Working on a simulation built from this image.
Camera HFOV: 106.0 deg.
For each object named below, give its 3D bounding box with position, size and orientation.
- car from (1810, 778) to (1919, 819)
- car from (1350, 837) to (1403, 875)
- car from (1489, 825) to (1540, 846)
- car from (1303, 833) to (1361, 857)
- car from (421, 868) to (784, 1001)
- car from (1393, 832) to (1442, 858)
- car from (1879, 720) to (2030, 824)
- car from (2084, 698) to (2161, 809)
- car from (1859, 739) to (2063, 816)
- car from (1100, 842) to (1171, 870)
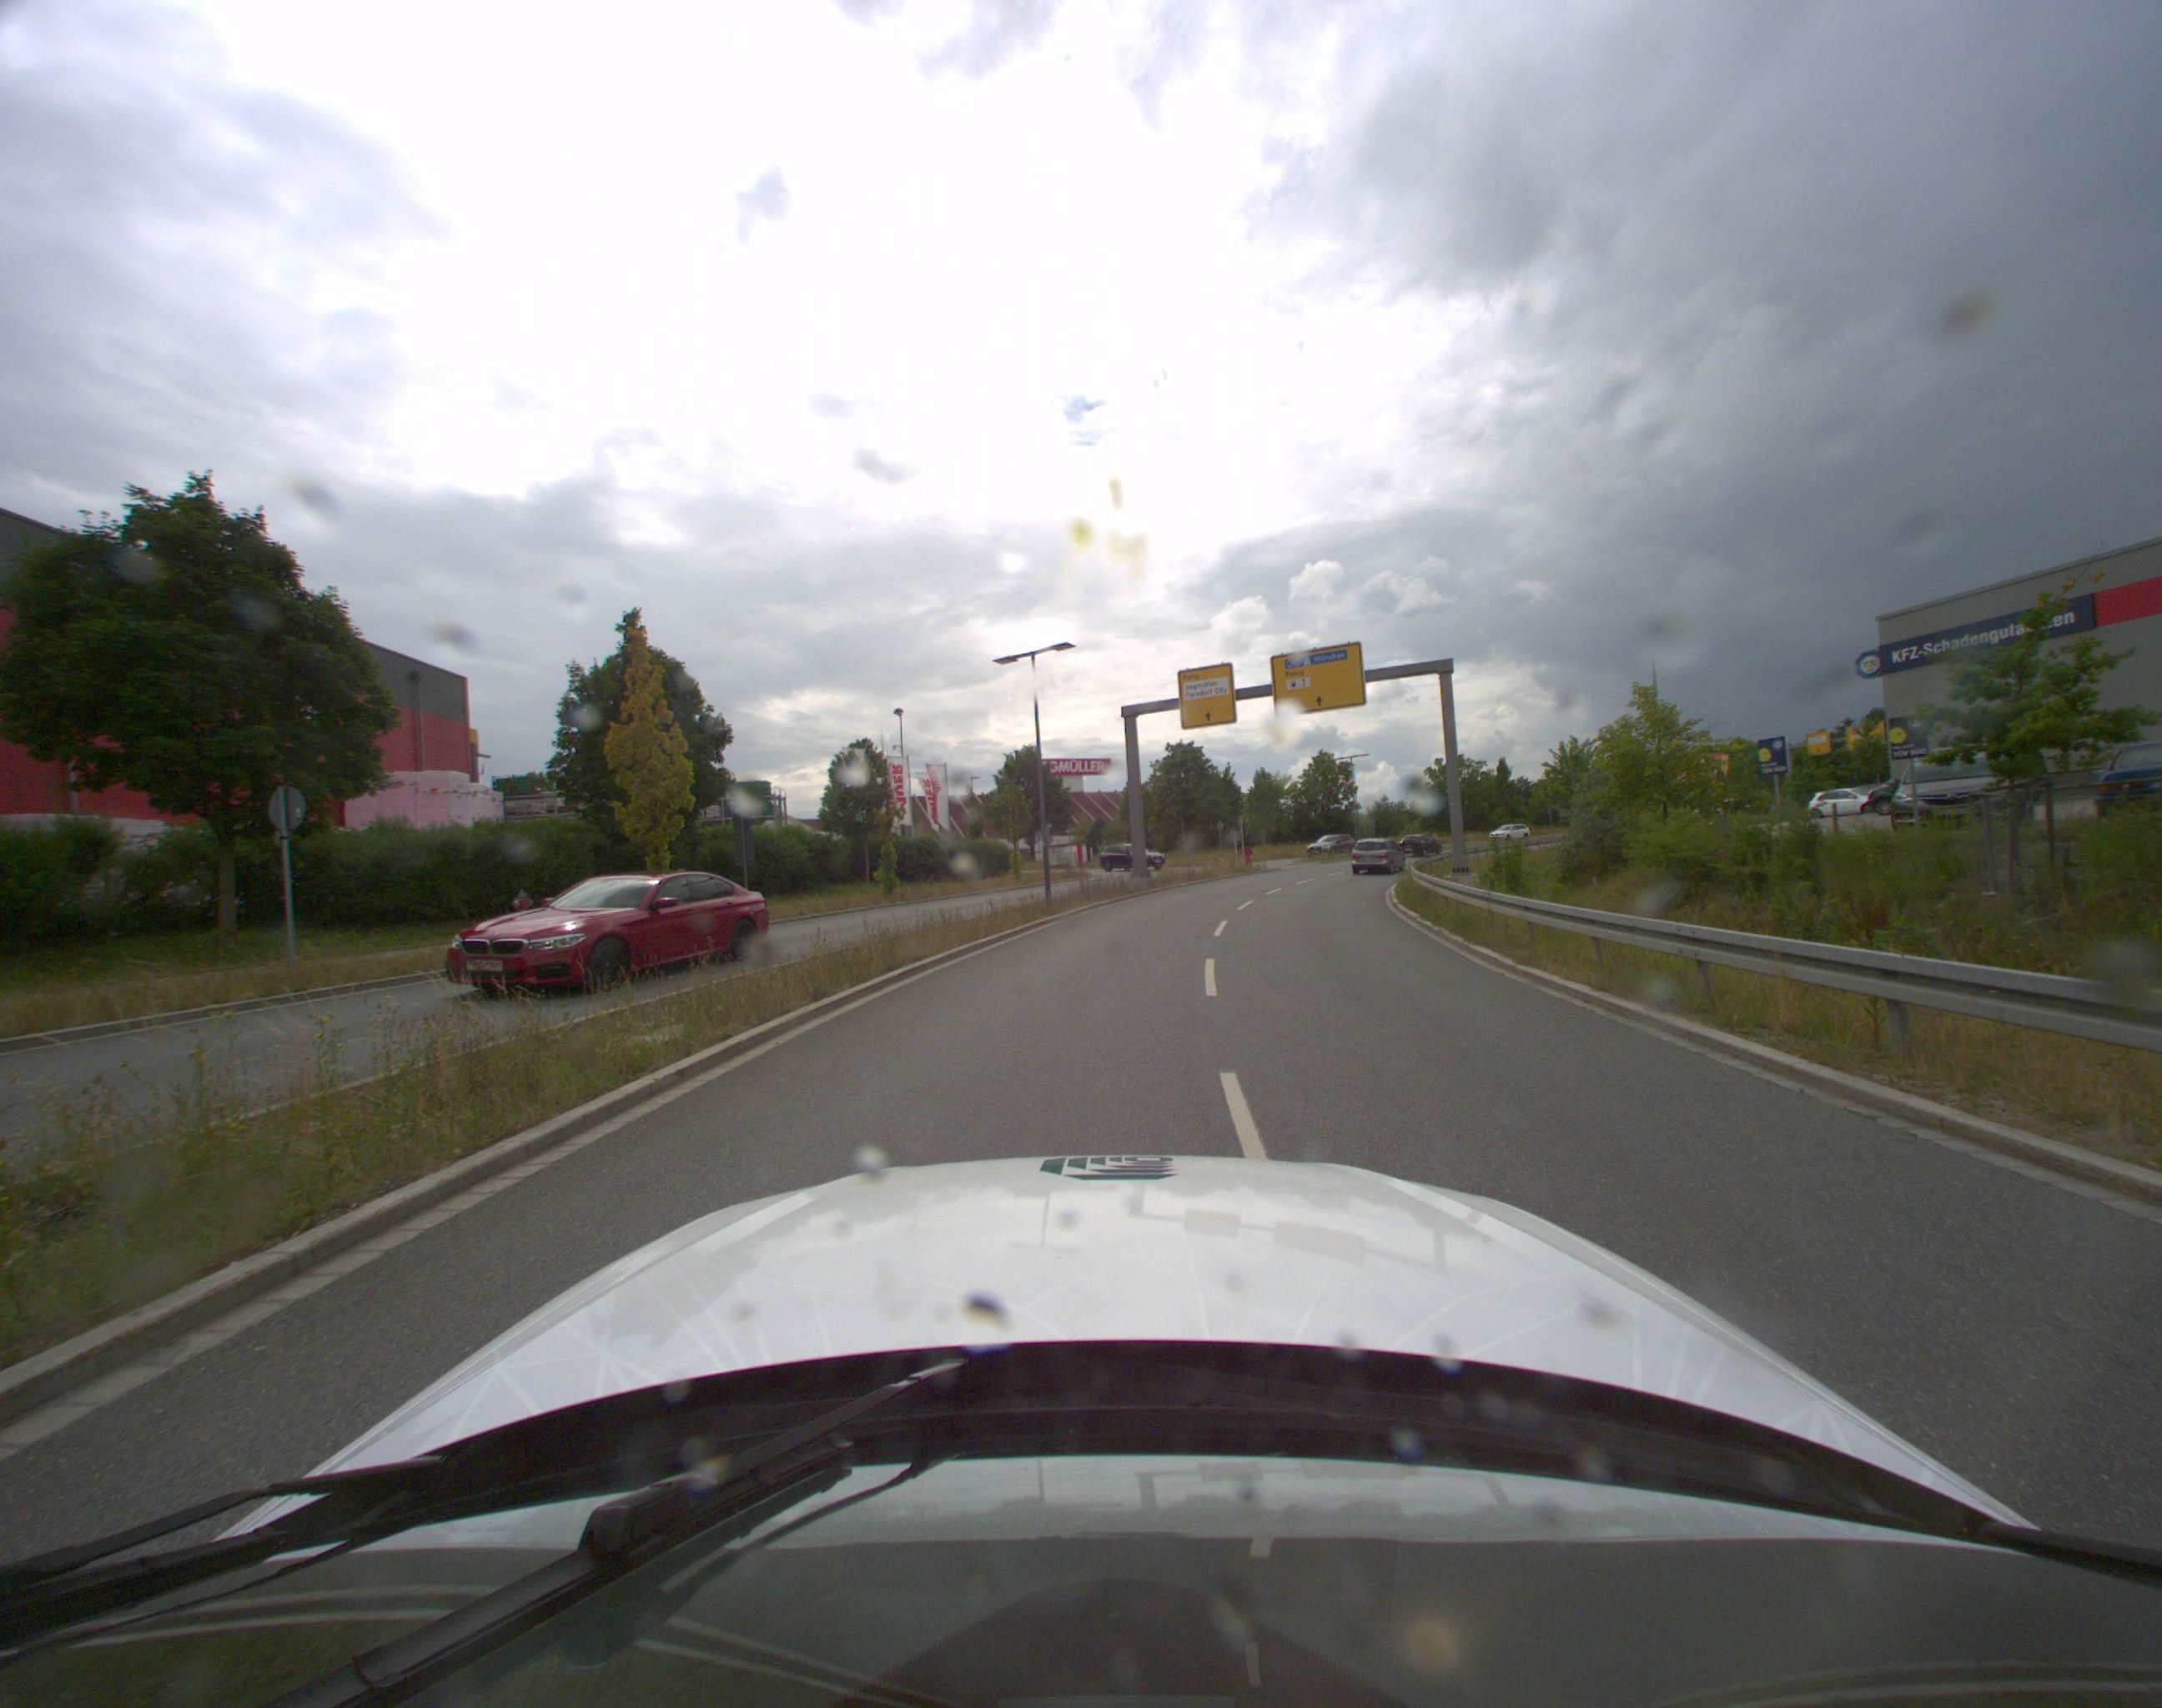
[{"bbox_3d":[39.351,-2.767,41.002,1.637,1.538,3.617,-4,-2,-8],"label":"car"},{"bbox_3d":[13.783,0.053,37.892,1.751,1.616,3.945,-3,0,27],"label":"car"},{"bbox_3d":[39.420,-1.686,74.104,4.272,1.634,1.707,-3,0,-23],"label":"car"},{"bbox_3d":[18.223,-0.647,59.052,4.712,1.629,1.793,-2,1,-42],"label":"car"},{"bbox_3d":[-6.495,0.971,11.938,1.780,1.447,4.985,0,0,10],"label":"car"},{"bbox_3d":[22.173,-0.621,53.604,1.851,1.605,3.758,-3,-1,41],"label":"car"},{"bbox_3d":[18.141,-1.572,16.860,4.189,1.782,1.784,-1,0,-38],"label":"car"},{"bbox_3d":[18.878,-1.690,14.117,3.876,1.653,1.714,-1,0,-37],"label":"car"},{"bbox_3d":[27.244,-2.294,25.432,1.699,1.811,3.958,-6,0,-8],"label":"car"},{"bbox_3d":[3.285,0.144,50.060,1.884,1.549,4.204,-3,0,-41],"label":"car"}]
